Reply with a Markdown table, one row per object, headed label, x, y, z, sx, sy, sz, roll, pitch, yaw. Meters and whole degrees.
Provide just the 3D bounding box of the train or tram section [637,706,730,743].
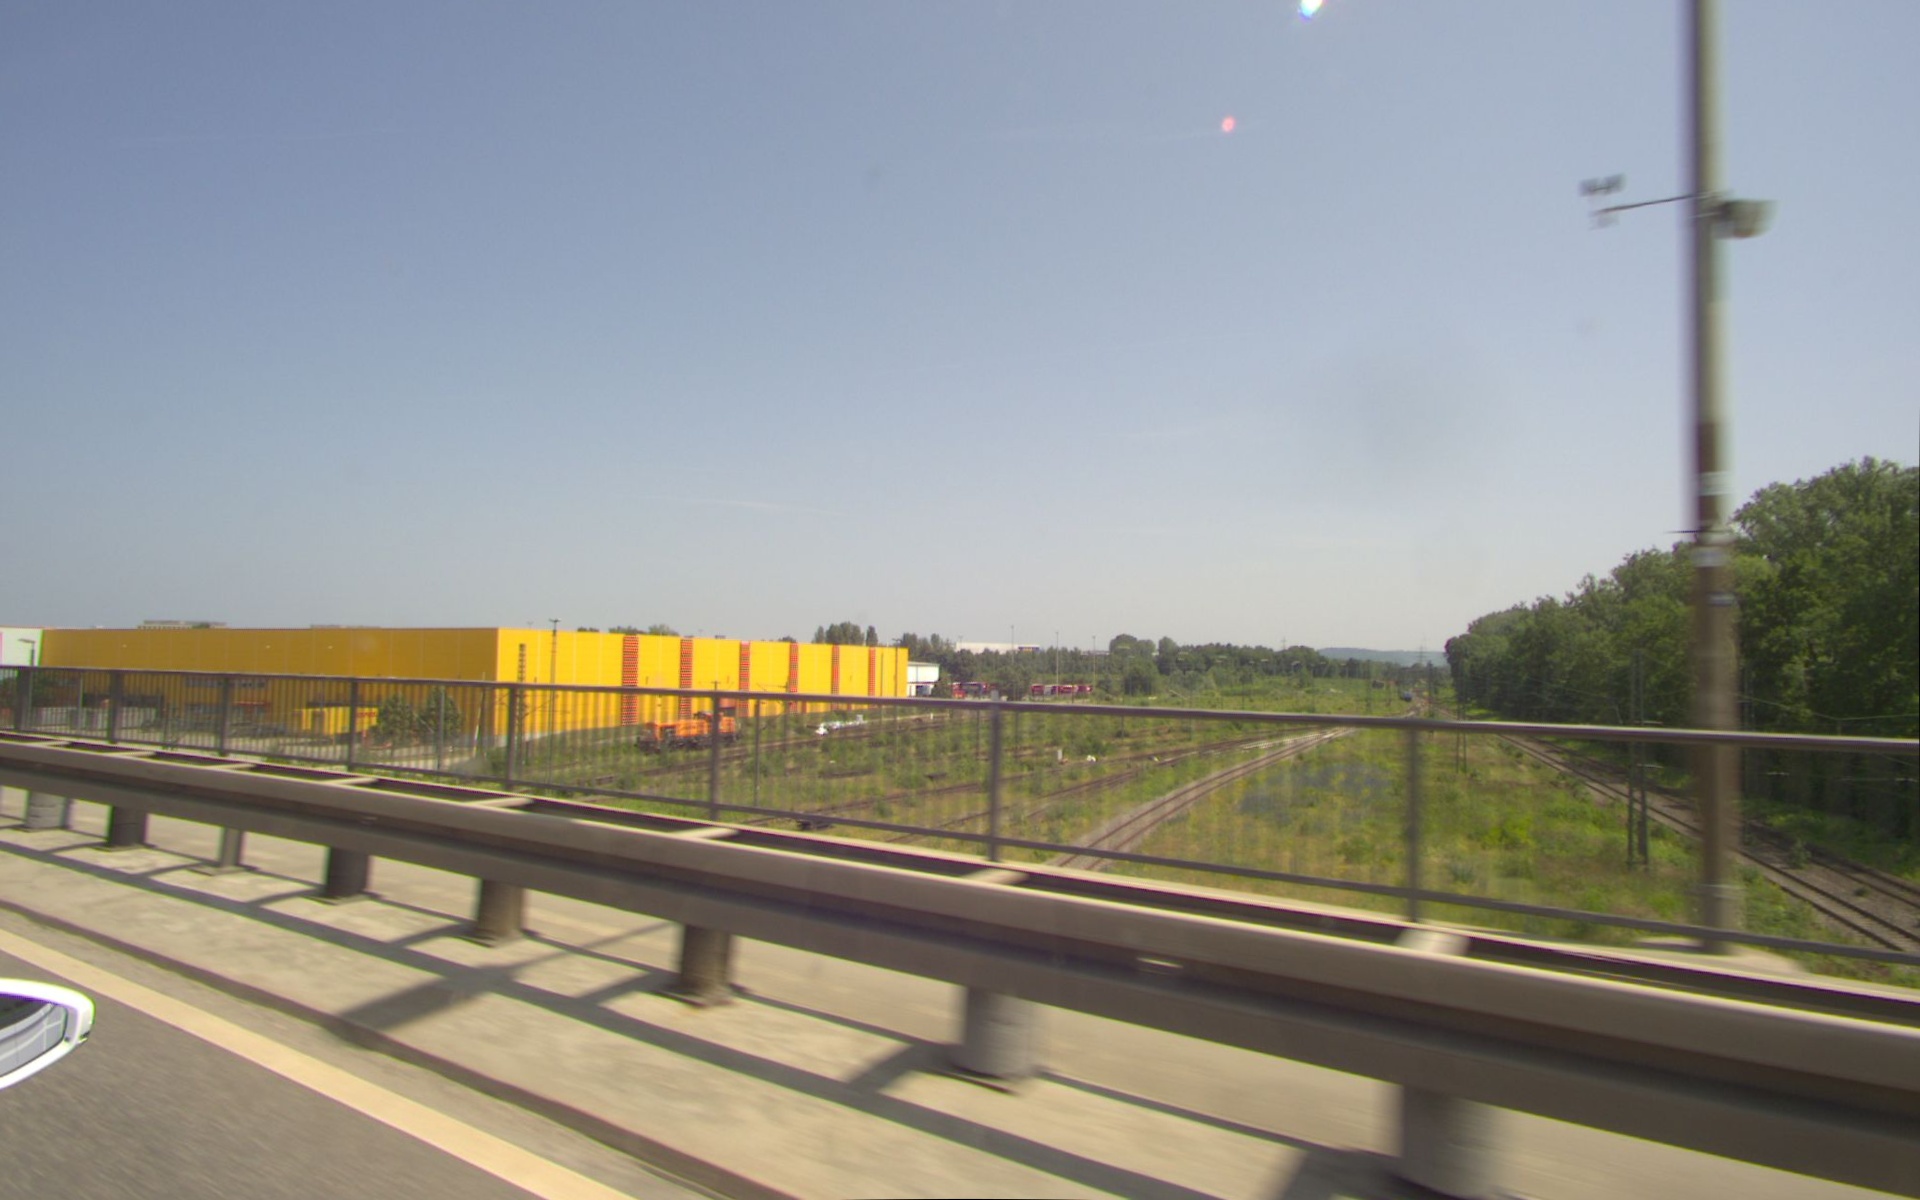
| label | x | y | z | sx | sy | sz | roll | pitch | yaw |
| --- | --- | --- | --- | --- | --- | --- | --- | --- | --- |
| train or tram section | -30.799 | 13.883 | 112.506 | 2.200 | 3.732 | 13.998 | 0 | -5 | 20 |
